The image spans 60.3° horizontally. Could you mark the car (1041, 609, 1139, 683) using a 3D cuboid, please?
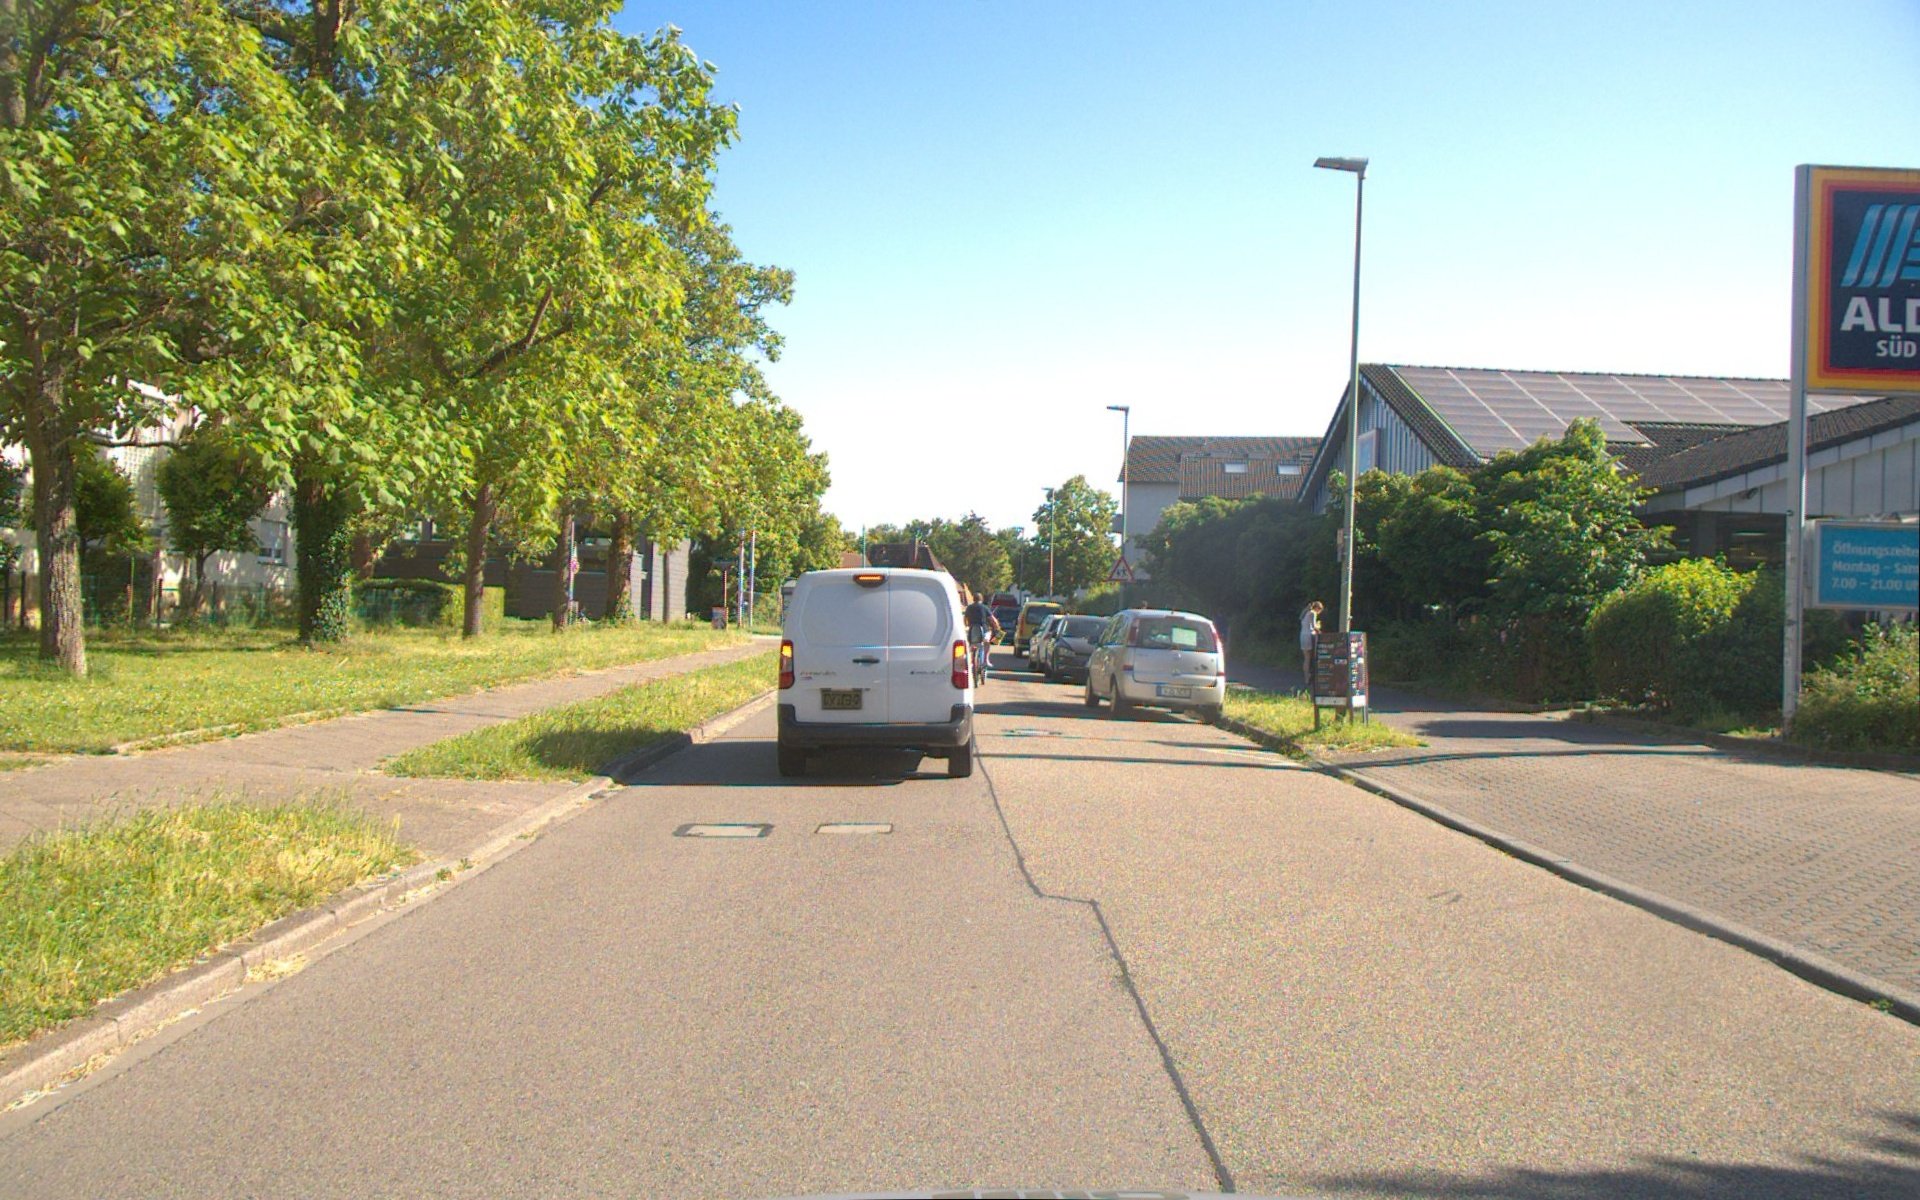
[{"bbox_3d":[2.828,0.973,36.789,1.770,1.468,4.363,2,0,0],"label":"car"}]

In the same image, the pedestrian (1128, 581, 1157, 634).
[{"bbox_3d":[6.602,0.277,59.873,0.779,1.894,0.873,2,-1,-8],"label":"pedestrian"}]

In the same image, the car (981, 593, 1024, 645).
[{"bbox_3d":[2.244,1.051,88.609,1.829,2.607,4.765,4,-1,-2],"label":"car"}]

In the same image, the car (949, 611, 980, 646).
[{"bbox_3d":[0.283,1.847,107.696,1.768,2.105,3.998,4,-1,-2],"label":"car"}]

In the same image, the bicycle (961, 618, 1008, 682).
[{"bbox_3d":[0.455,0.951,31.965,0.771,1.158,2.279,1,0,-2],"label":"bicycle"}]

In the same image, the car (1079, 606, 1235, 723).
[{"bbox_3d":[2.984,0.955,25.855,1.647,1.627,4.024,2,-1,-4],"label":"car"}]

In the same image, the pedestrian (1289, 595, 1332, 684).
[{"bbox_3d":[7.355,0.824,34.752,0.781,1.813,0.809,1,0,7],"label":"pedestrian"}]

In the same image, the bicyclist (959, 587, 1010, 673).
[{"bbox_3d":[0.461,0.580,32.019,0.887,1.612,0.966,2,-1,-2],"label":"bicyclist"}]

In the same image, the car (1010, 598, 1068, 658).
[{"bbox_3d":[2.573,0.915,54.680,1.689,1.869,4.000,2,-1,0],"label":"car"}]

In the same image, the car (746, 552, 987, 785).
[{"bbox_3d":[-0.757,0.580,16.083,1.952,1.915,4.289,1,0,1],"label":"car"}]

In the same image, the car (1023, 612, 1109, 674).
[{"bbox_3d":[2.693,1.088,42.909,1.789,1.477,3.998,2,-1,-2],"label":"car"}]

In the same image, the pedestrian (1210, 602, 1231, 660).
[{"bbox_3d":[7.719,0.913,48.993,0.555,1.665,0.547,1,0,4],"label":"pedestrian"}]

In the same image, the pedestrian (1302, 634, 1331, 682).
[{"bbox_3d":[7.674,1.249,35.601,0.521,0.998,0.811,2,-1,7],"label":"pedestrian"}]

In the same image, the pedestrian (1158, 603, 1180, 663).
[{"bbox_3d":[5.913,0.928,46.864,0.555,1.665,0.547,1,0,4],"label":"pedestrian"}]

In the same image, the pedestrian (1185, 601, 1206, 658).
[{"bbox_3d":[6.986,0.868,49.015,0.555,1.665,0.547,1,0,4],"label":"pedestrian"}]

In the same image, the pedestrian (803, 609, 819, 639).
[{"bbox_3d":[-7.451,1.190,82.694,0.500,1.471,0.637,1,-1,32],"label":"pedestrian"}]

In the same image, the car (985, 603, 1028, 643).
[{"bbox_3d":[2.264,1.152,81.177,1.768,1.816,3.998,4,-1,-2],"label":"car"}]
